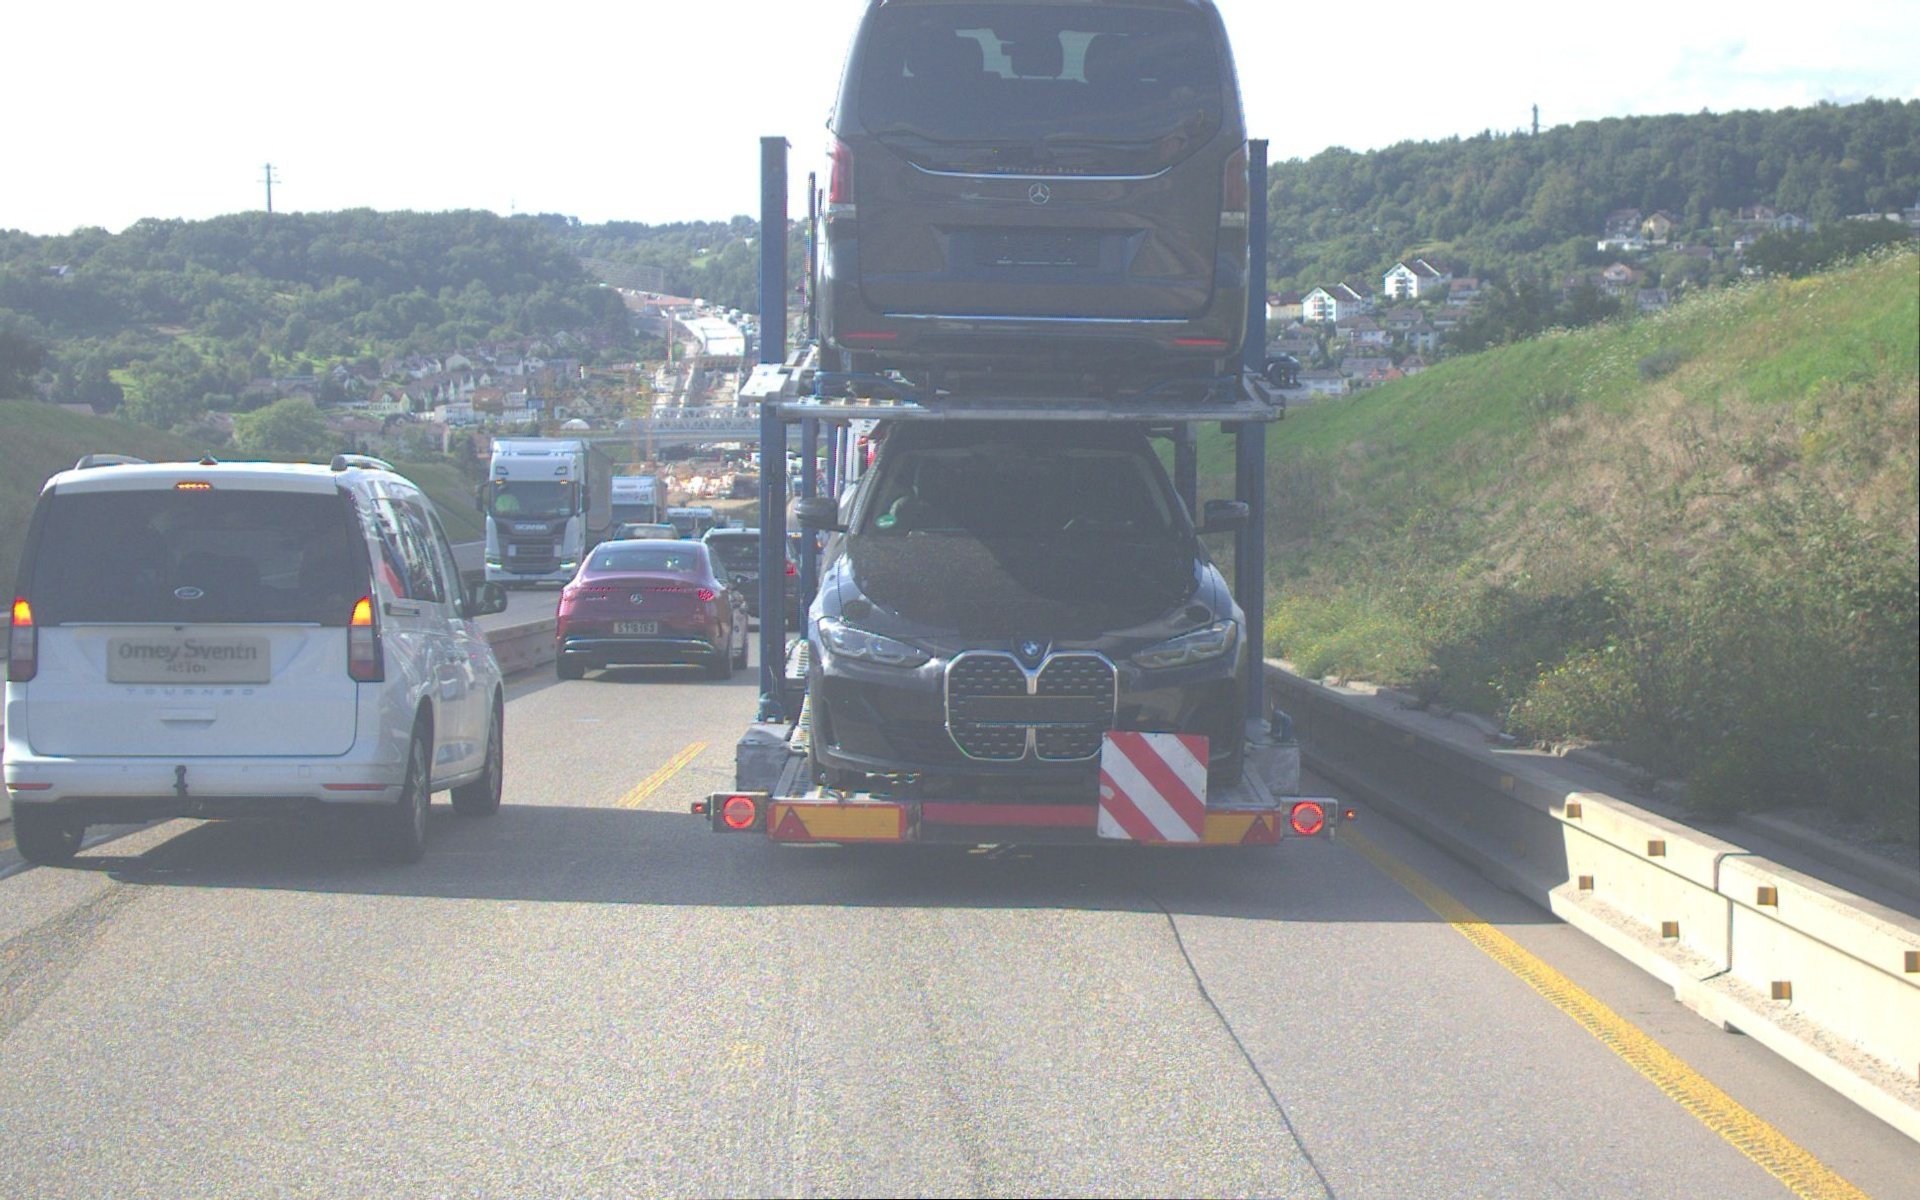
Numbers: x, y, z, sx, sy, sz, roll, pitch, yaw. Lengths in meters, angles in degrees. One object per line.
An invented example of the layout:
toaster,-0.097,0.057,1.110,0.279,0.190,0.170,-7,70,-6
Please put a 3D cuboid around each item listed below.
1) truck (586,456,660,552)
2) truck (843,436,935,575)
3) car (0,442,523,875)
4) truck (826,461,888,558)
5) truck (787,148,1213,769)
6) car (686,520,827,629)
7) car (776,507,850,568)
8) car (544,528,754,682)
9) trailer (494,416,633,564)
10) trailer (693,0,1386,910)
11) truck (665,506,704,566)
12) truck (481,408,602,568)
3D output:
truck,-14.788,-4.184,151.576,2.638,4.085,10.820,0,1,-2
truck,-2.534,-3.239,119.077,2.863,4.555,11.659,0,1,-3
car,-3.344,0.187,16.910,1.823,1.817,4.456,1,2,0
truck,-4.989,-4.391,168.132,2.863,4.555,11.659,0,1,-1
truck,0.219,-0.957,24.676,2.678,3.908,6.028,0,1,-1
car,-3.227,-0.451,55.393,1.993,1.619,4.750,1,1,-1
car,-3.974,-1.679,92.363,1.796,1.591,4.744,0,1,-5
car,-3.286,0.000,37.120,1.823,1.487,4.685,1,2,0
trailer,-11.216,-3.077,98.576,2.614,3.940,13.875,0,1,-1
trailer,0.264,-0.921,19.160,2.708,4.015,11.420,0,1,0
truck,-19.309,-4.505,241.352,2.638,4.085,10.820,0,1,-4
truck,-11.143,-2.973,91.893,2.614,4.139,5.782,0,1,-1
